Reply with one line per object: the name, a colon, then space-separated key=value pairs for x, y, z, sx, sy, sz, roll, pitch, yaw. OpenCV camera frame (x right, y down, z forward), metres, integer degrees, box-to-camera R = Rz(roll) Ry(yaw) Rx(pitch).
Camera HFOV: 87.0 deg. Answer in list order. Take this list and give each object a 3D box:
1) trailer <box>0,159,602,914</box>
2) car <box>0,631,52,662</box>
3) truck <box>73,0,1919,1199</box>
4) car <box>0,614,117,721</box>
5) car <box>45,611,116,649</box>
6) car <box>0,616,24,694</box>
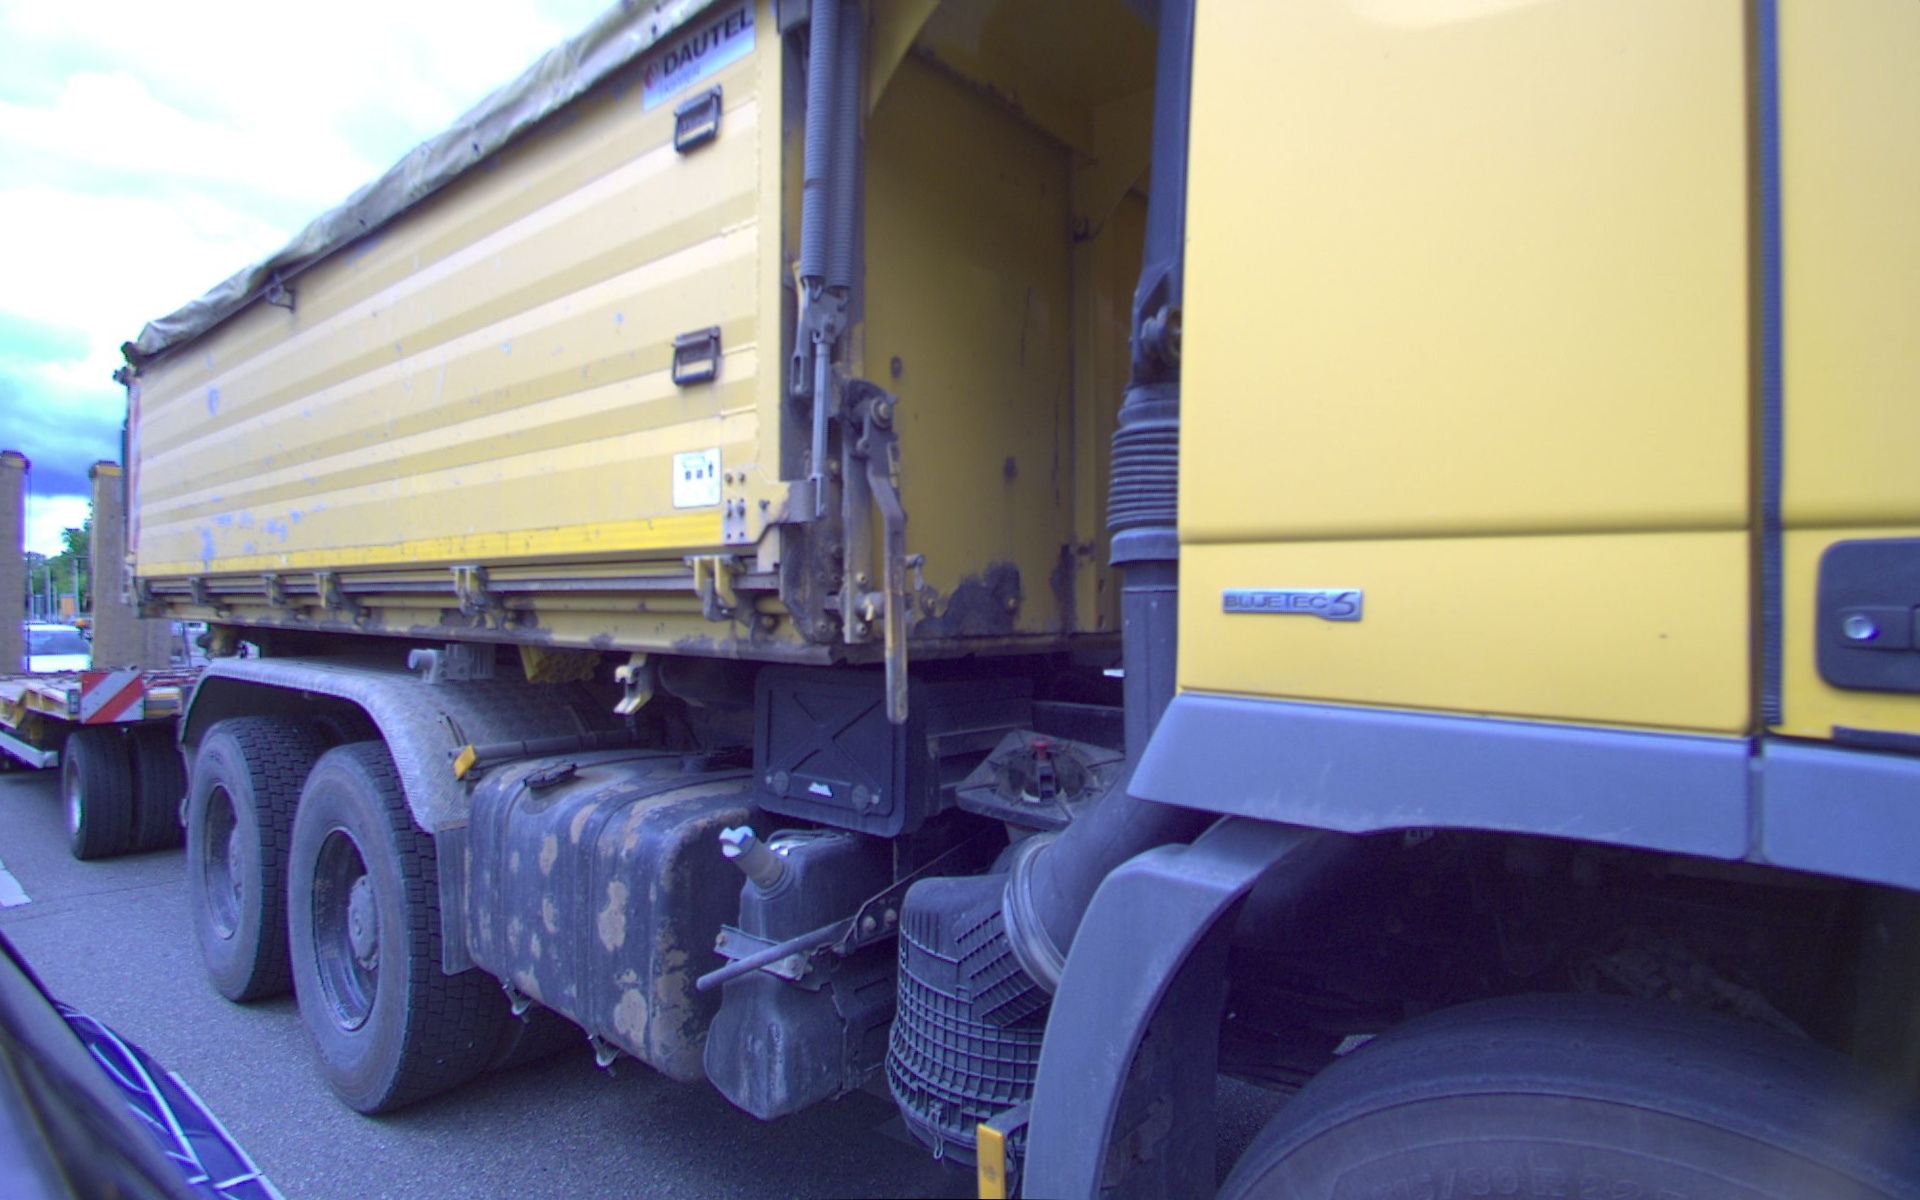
trailer: x=-7.387 y=-0.226 z=9.378 sx=10.909 sy=3.548 sz=2.678 roll=-1 pitch=0 yaw=41
car: x=-47.576 y=2.305 z=51.319 sx=4.275 sy=1.452 sz=1.744 roll=-2 pitch=-1 yaw=41
truck: x=-0.376 y=-0.077 z=3.221 sx=7.775 sy=3.026 sz=2.692 roll=0 pitch=0 yaw=41
car: x=-14.973 y=0.994 z=16.209 sx=3.998 sy=1.490 sz=1.671 roll=0 pitch=0 yaw=41
car: x=-36.944 y=1.251 z=42.472 sx=4.043 sy=1.480 sz=1.758 roll=-2 pitch=-1 yaw=42
car: x=-20.444 y=1.092 z=20.567 sx=3.998 sy=1.490 sz=1.671 roll=0 pitch=0 yaw=41
